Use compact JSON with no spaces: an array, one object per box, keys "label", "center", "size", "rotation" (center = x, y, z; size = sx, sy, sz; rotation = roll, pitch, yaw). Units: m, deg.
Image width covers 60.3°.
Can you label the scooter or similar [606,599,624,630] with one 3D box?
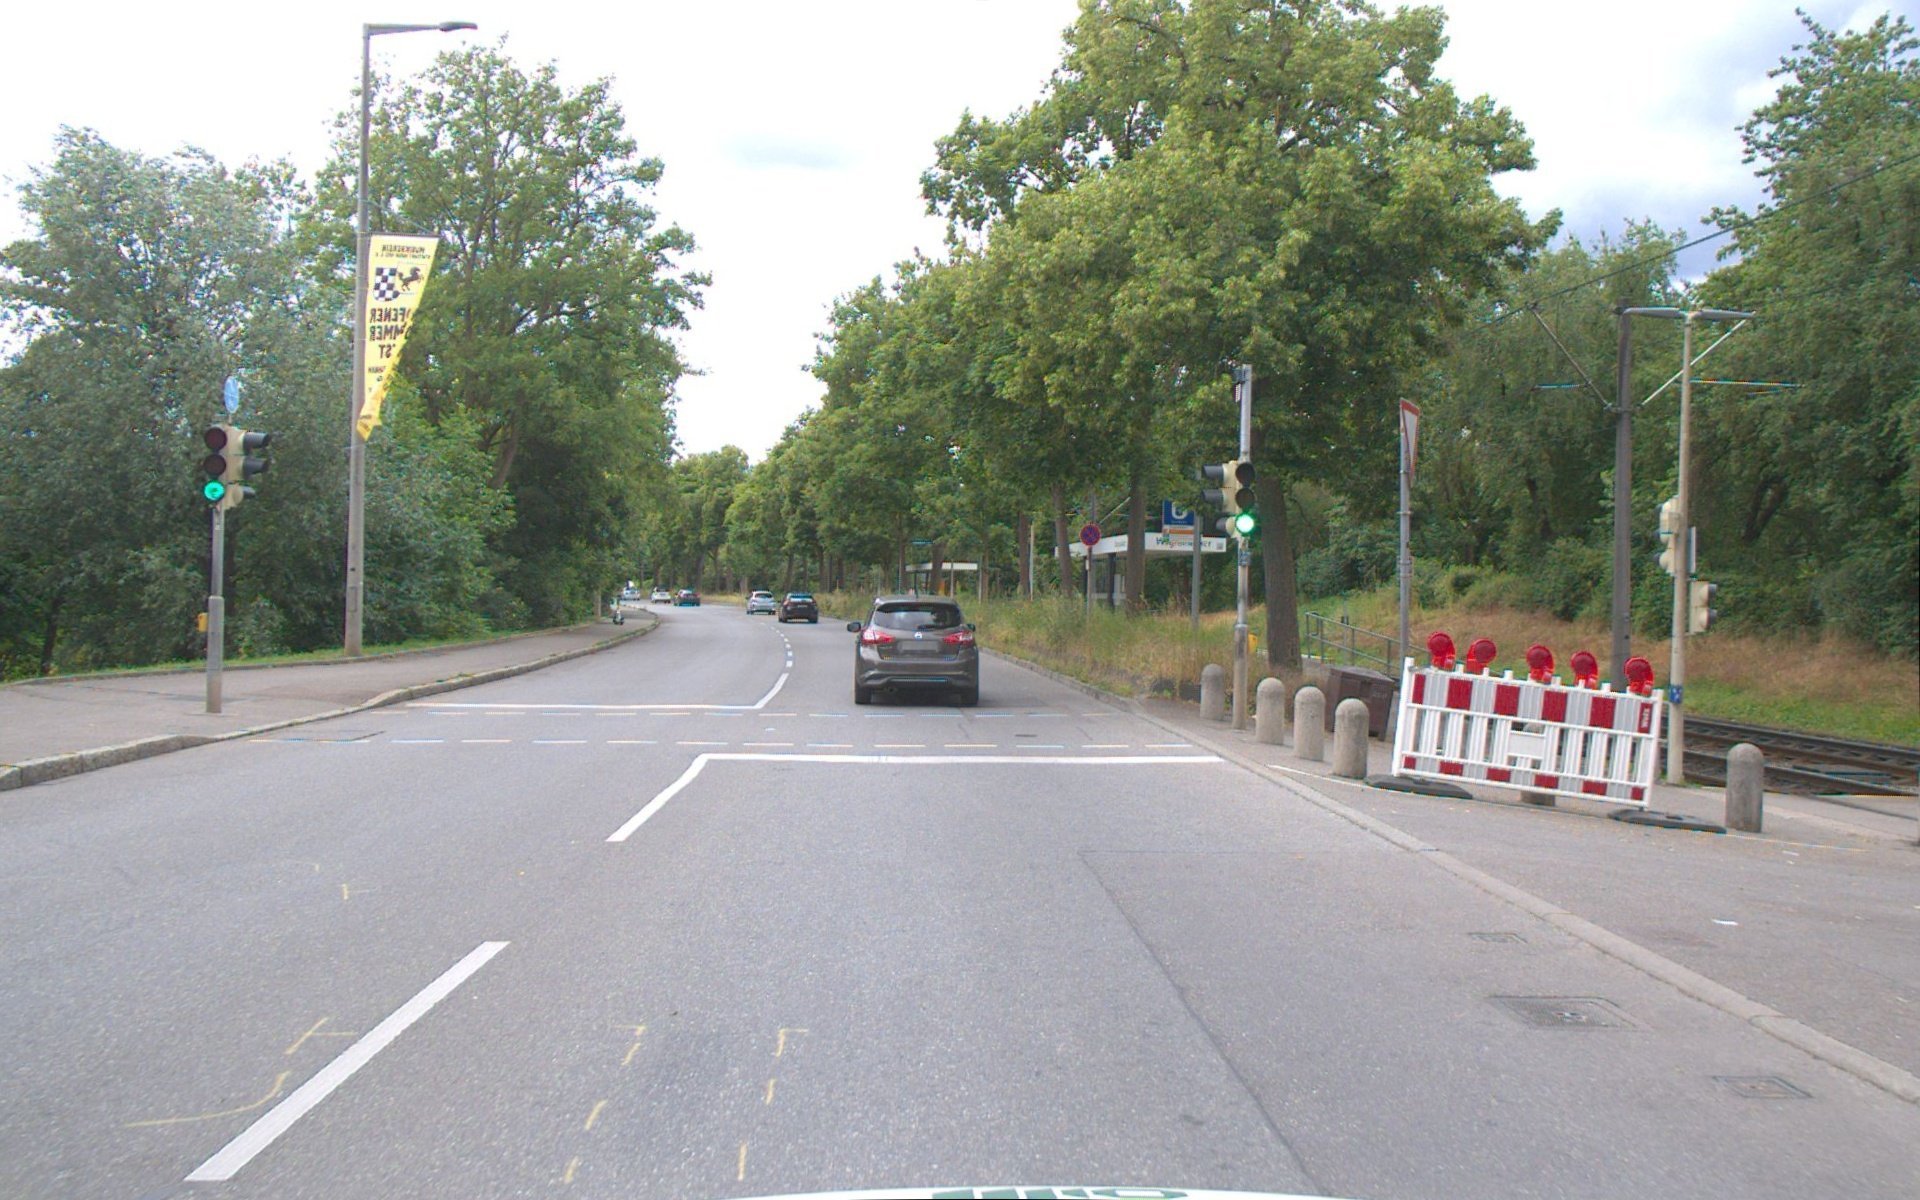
[{"label":"scooter or similar","center":[-13.951,0.578,66.863],"size":[0.360,1.204,1.285],"rotation":[2,0,-28]}]

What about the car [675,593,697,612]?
[{"label":"car","center":[-24.145,0.244,145.440],"size":[1.744,1.497,3.990],"rotation":[5,0,-10]}]

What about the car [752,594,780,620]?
[{"label":"car","center":[-12.639,0.439,107.900],"size":[1.742,1.497,3.994],"rotation":[3,0,-7]}]

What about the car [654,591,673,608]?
[{"label":"car","center":[-28.895,-0.031,161.165],"size":[1.743,1.497,3.991],"rotation":[2,1,-9]}]

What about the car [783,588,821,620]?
[{"label":"car","center":[-7.857,0.174,82.438],"size":[1.741,1.497,3.996],"rotation":[3,0,-5]}]

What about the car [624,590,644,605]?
[{"label":"car","center":[-35.710,-0.263,181.075],"size":[1.747,1.497,3.983],"rotation":[3,0,-16]}]

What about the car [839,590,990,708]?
[{"label":"car","center":[-0.756,0.650,24.366],"size":[1.782,1.534,3.993],"rotation":[0,1,-8]}]
